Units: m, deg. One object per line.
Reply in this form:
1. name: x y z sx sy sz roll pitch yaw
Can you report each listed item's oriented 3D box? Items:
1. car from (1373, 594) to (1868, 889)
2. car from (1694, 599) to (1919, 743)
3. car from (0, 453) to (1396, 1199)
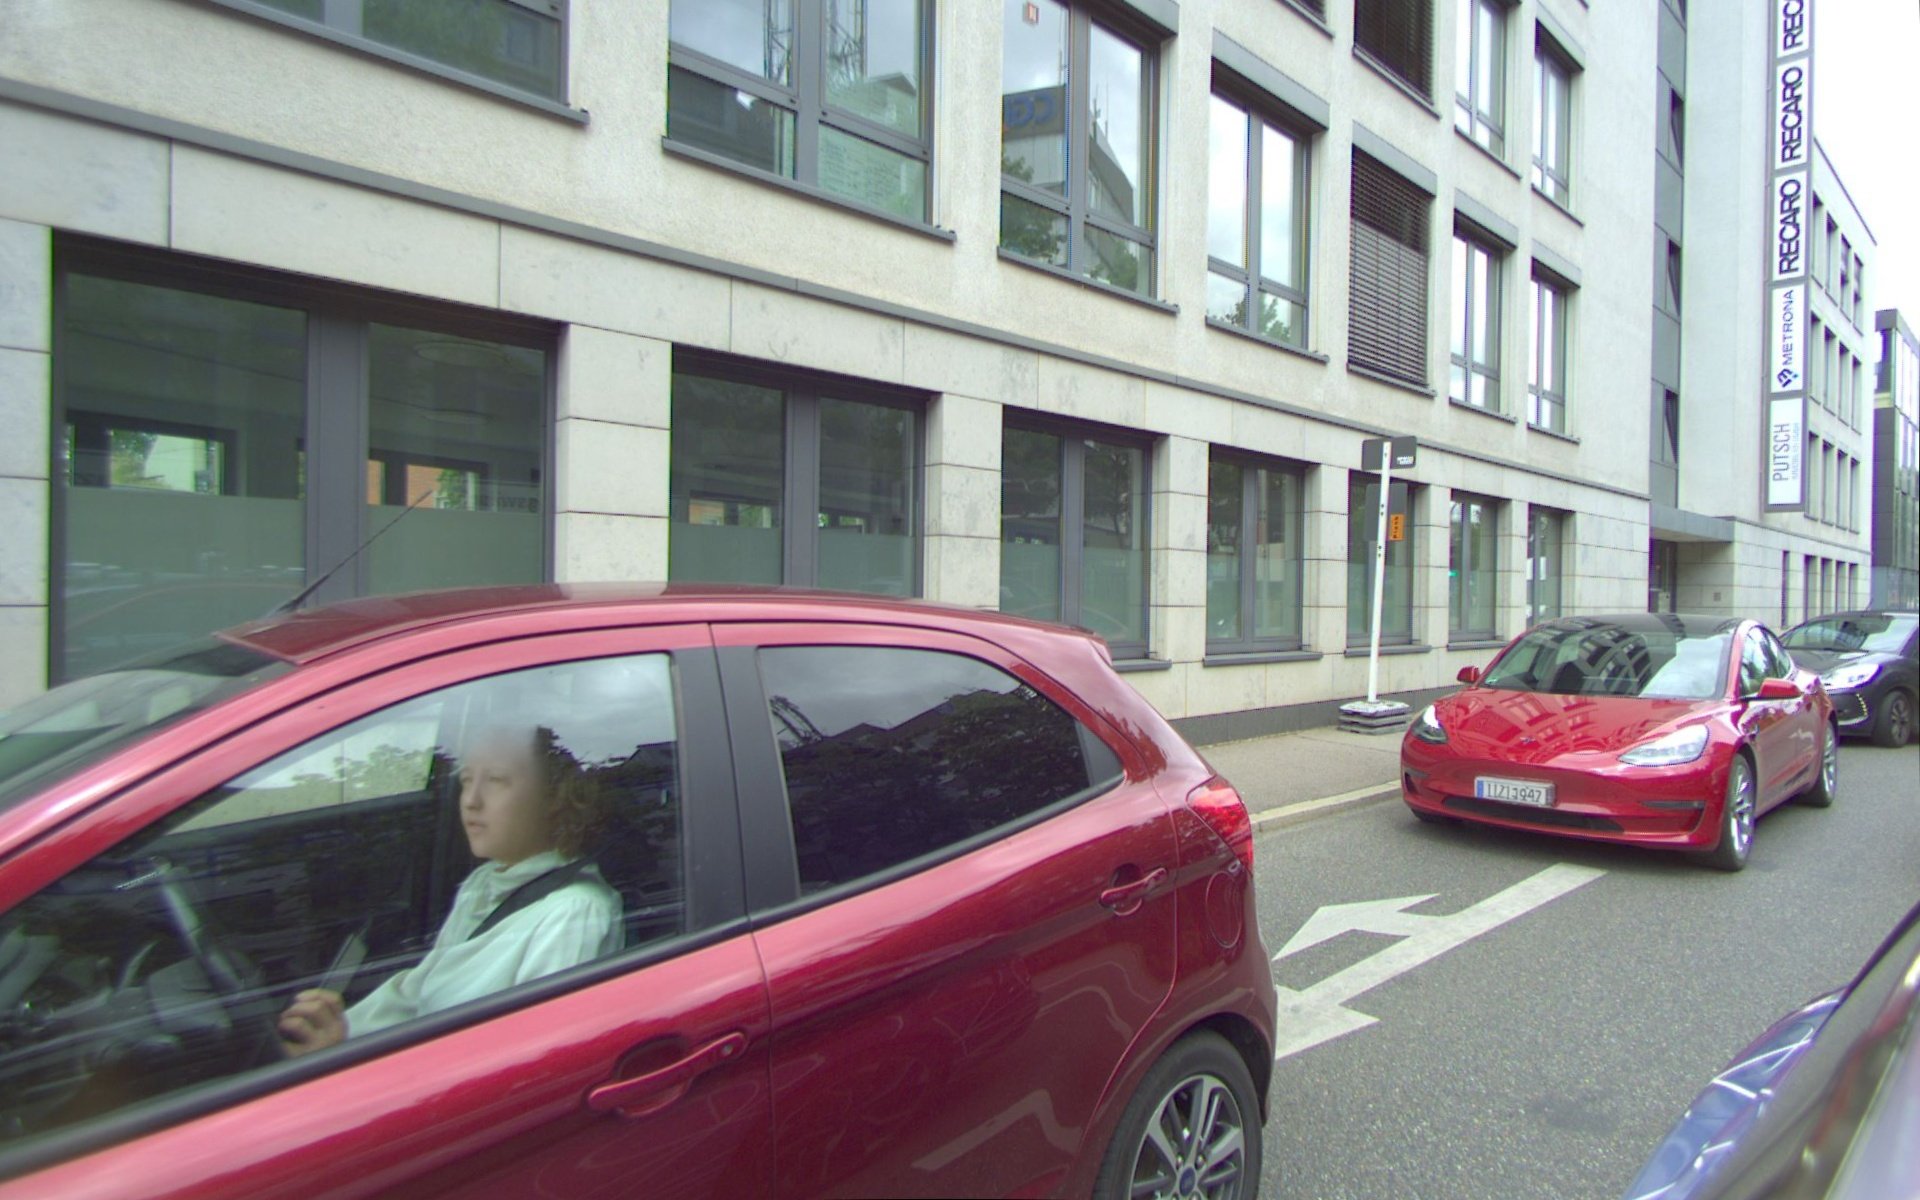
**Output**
1. car: 4.872 0.723 7.198 4.331 1.476 1.823 0 -1 -41
2. car: 10.740 0.731 11.662 3.655 1.476 1.749 0 -1 -15
3. car: -1.021 0.648 1.947 3.930 1.511 1.888 0 -2 -41
